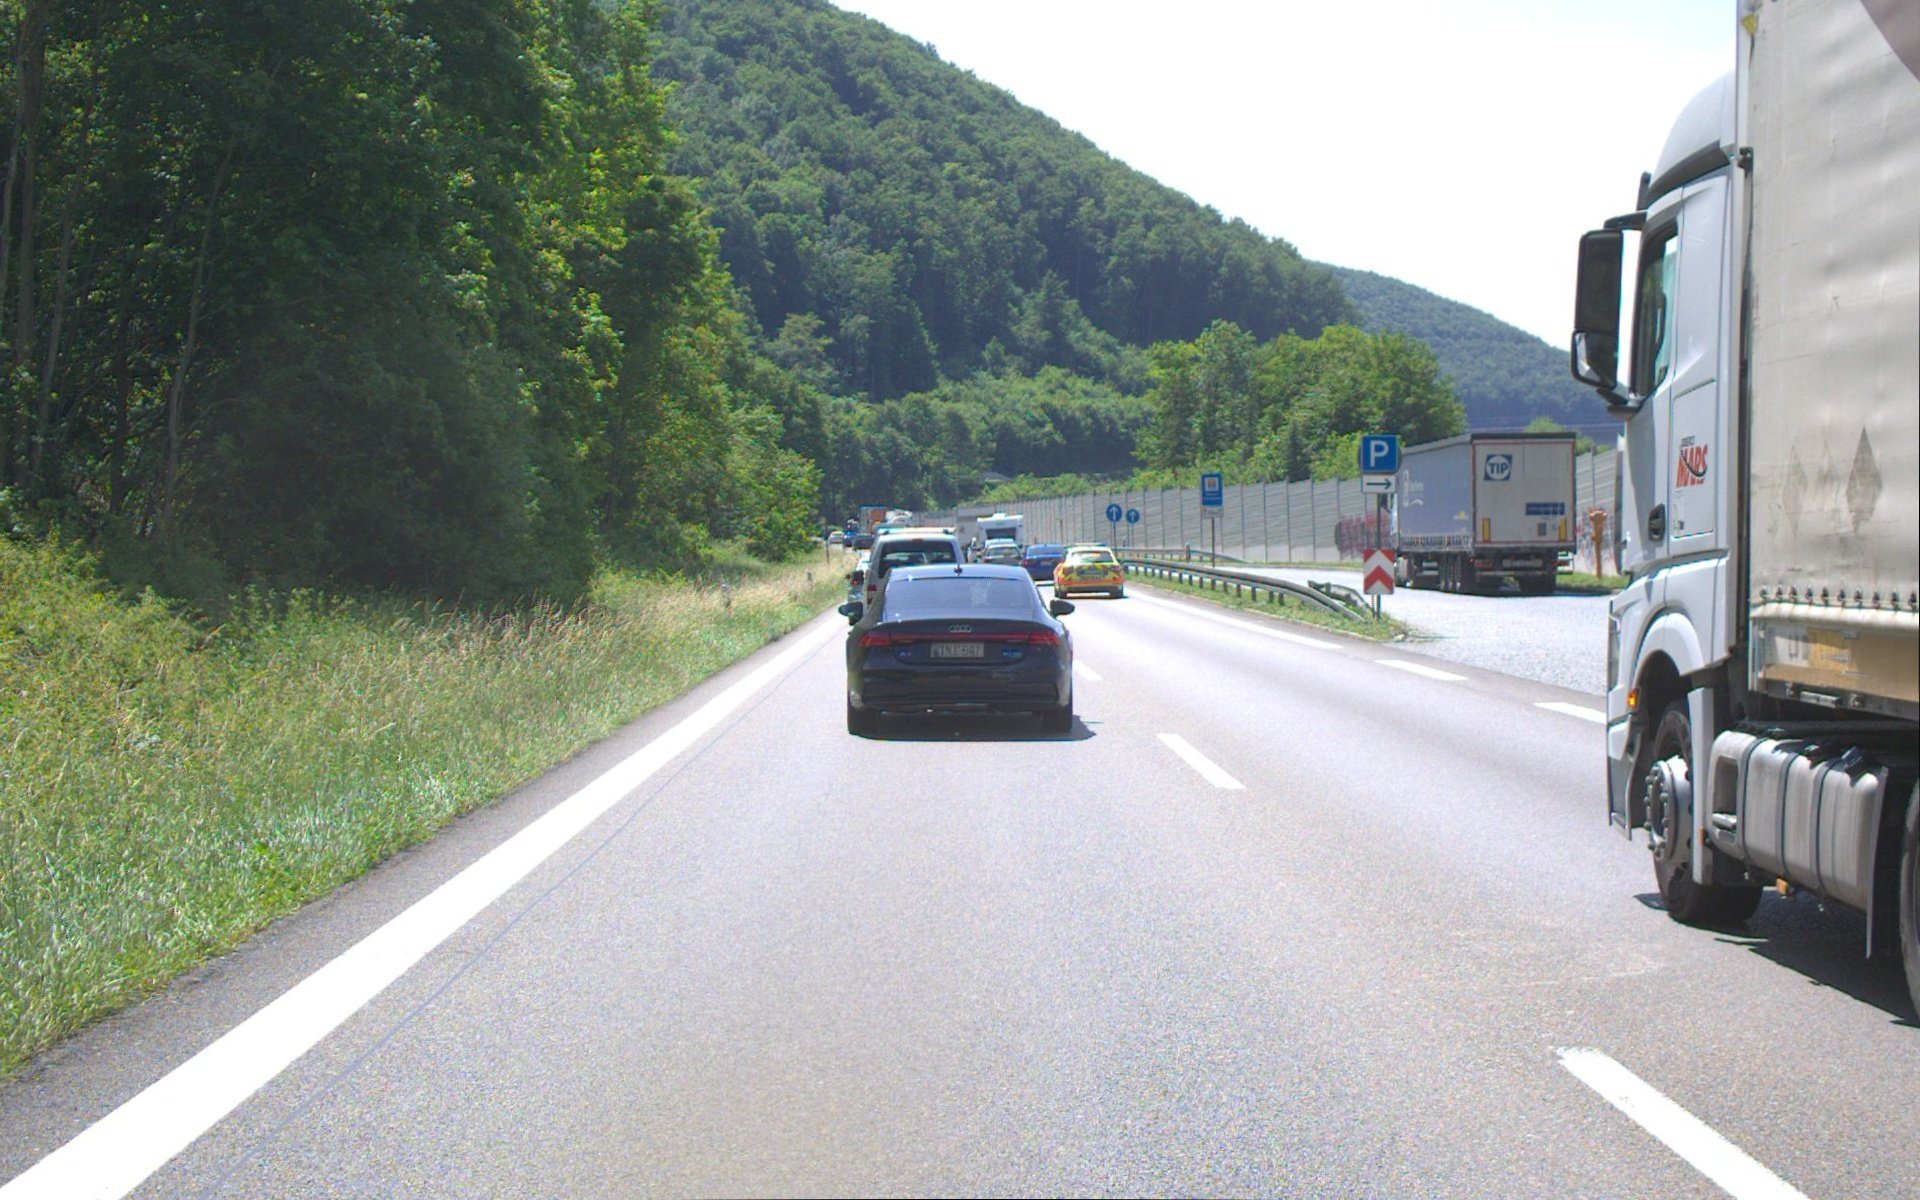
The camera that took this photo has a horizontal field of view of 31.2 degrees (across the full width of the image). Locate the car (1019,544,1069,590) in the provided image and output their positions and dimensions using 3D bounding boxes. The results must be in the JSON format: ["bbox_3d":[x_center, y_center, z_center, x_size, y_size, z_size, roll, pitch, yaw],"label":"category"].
[{"bbox_3d":[2.869,-1.119,117.990,1.530,1.520,3.597,2,0,0],"label":"car"}]

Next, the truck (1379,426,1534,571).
[{"bbox_3d":[13.680,-2.782,95.218,3.411,3.887,5.388,0,1,-1],"label":"truck"}]

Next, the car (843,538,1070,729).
[{"bbox_3d":[-0.033,0.233,29.214,1.812,1.509,3.514,0,1,0],"label":"car"}]

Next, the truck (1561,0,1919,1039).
[{"bbox_3d":[4.230,-0.691,12.980,2.719,4.054,5.755,1,0,-1],"label":"truck"}]

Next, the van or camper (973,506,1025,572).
[{"bbox_3d":[1.947,-3.024,172.274,2.429,3.144,5.203,2,0,0],"label":"van or camper"}]

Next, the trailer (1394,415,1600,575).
[{"bbox_3d":[13.789,-2.667,89.351,3.411,3.887,11.152,0,1,-1],"label":"trailer"}]

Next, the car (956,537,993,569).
[{"bbox_3d":[0.817,-2.721,199.842,1.993,1.788,4.000,2,0,-1],"label":"car"}]

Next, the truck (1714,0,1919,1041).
[{"bbox_3d":[4.398,-0.650,6.072,2.726,4.054,13.742,1,0,-1],"label":"truck"}]

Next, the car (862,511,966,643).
[{"bbox_3d":[-0.741,-0.367,54.600,1.521,1.961,3.514,3,1,-1],"label":"car"}]

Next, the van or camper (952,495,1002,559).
[{"bbox_3d":[1.057,-4.624,218.748,2.794,3.894,6.167,2,0,-2],"label":"van or camper"}]

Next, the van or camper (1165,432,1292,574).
[{"bbox_3d":[7.639,-2.727,98.640,2.794,3.828,6.167,2,0,-2],"label":"van or camper"}]

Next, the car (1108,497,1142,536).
[{"bbox_3d":[8.552,-4.317,178.178,1.576,2.007,3.428,0,1,0],"label":"car"}]

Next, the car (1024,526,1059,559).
[{"bbox_3d":[5.109,-3.617,216.158,1.993,2.007,4.000,0,1,-2],"label":"car"}]

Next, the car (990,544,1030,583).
[{"bbox_3d":[2.023,-1.477,139.759,1.530,1.520,3.597,2,0,0],"label":"car"}]

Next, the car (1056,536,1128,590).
[{"bbox_3d":[3.713,-1.052,97.294,1.879,1.493,4.000,0,1,0],"label":"car"}]

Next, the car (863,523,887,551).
[{"bbox_3d":[-6.091,-4.514,247.730,1.687,2.007,4.000,0,1,-1],"label":"car"}]
